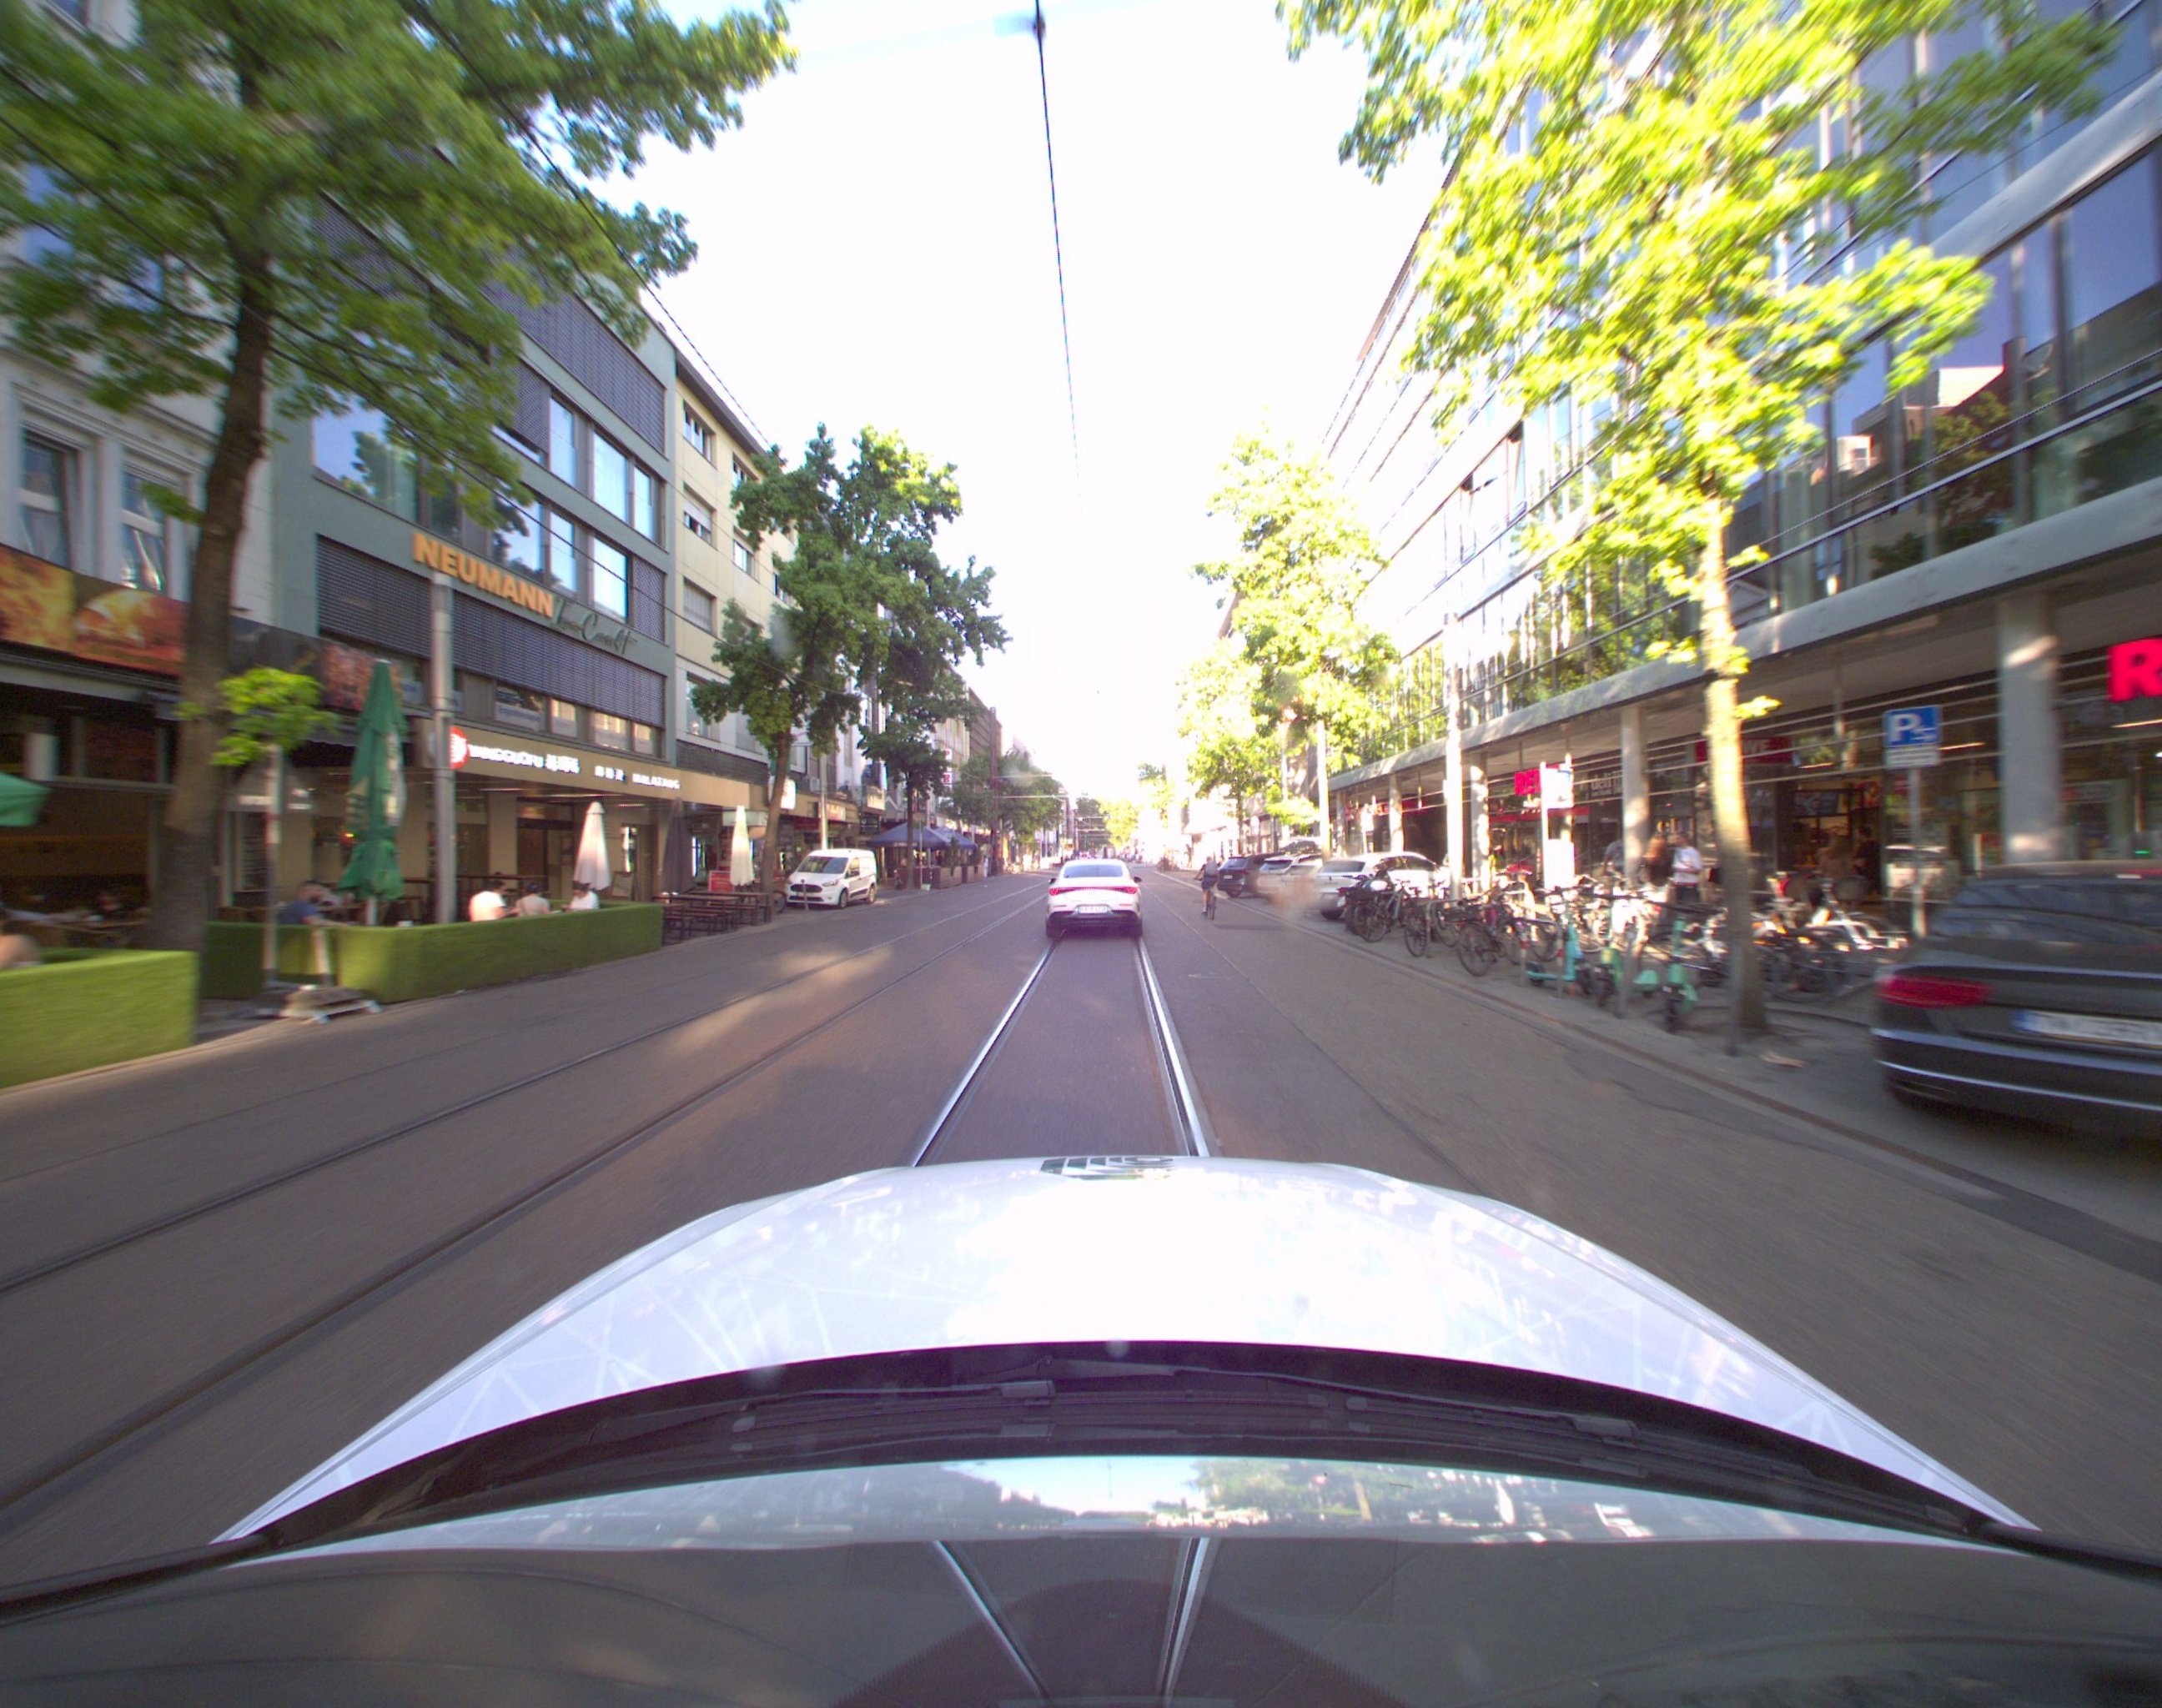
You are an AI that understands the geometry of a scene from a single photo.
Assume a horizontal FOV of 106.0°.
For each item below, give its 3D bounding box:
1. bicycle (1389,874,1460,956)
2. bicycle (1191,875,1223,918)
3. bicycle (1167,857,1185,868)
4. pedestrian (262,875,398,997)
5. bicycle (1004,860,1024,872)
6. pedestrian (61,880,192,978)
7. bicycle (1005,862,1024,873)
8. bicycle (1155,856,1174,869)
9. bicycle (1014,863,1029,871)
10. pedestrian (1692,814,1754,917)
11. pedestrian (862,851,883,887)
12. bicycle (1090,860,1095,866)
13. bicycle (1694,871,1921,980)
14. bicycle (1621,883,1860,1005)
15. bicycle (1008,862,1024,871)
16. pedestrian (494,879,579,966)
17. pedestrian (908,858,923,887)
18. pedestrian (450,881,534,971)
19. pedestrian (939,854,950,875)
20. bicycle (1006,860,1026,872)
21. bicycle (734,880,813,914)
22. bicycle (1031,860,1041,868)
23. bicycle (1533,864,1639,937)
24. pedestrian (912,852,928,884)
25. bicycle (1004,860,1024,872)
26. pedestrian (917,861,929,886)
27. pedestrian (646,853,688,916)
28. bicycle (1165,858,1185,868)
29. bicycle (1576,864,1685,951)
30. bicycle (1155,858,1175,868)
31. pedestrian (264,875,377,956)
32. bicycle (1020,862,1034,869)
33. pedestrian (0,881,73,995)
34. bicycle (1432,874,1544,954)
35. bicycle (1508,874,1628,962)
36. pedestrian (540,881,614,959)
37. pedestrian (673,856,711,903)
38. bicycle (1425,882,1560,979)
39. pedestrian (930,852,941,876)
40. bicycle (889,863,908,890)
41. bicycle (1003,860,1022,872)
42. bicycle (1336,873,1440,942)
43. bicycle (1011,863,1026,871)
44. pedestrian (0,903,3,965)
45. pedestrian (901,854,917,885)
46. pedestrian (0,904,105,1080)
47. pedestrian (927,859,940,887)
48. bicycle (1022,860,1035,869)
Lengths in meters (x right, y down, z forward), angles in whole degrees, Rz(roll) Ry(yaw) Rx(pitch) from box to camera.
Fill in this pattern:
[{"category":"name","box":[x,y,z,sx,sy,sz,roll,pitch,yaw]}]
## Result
[{"category":"bicycle","box":[5.656,0.973,13.364,0.475,1.163,1.705,-5,-1,41]},{"category":"bicycle","box":[3.258,1.057,20.885,0.714,0.995,2.065,1,0,11]},{"category":"bicycle","box":[10.441,0.935,89.570,1.908,1.156,0.608,-3,-1,-10]},{"category":"pedestrian","box":[-8.926,0.943,9.718,0.751,1.343,0.873,2,0,1]},{"category":"bicycle","box":[-6.037,1.074,73.655,1.784,1.077,0.377,0,0,-2]},{"category":"pedestrian","box":[-12.324,0.949,10.541,0.697,1.168,0.788,2,0,1]},{"category":"bicycle","box":[-5.713,1.204,70.319,1.586,0.930,0.378,0,0,8]},{"category":"bicycle","box":[9.271,0.937,90.412,1.908,1.281,0.608,-3,-1,-10]},{"category":"bicycle","box":[-6.025,1.308,82.514,1.486,0.783,0.345,0,0,3]},{"category":"pedestrian","box":[12.459,0.216,15.812,0.580,1.919,0.664,-3,-1,4]},{"category":"pedestrian","box":[-9.927,0.720,38.738,0.664,1.686,1.005,1,0,2]},{"category":"bicycle","box":[1.921,1.510,137.582,0.797,1.142,2.257,1,0,1]},{"category":"bicycle","box":[8.571,0.806,9.699,0.629,1.130,1.868,-3,0,-34]},{"category":"bicycle","box":[6.871,0.887,8.589,0.554,1.107,1.830,-3,0,-33]},{"category":"bicycle","box":[-6.484,1.272,81.180,1.486,0.841,0.345,0,0,3]},{"category":"pedestrian","box":[-8.370,1.034,12.552,0.654,1.244,0.873,2,0,1]},{"category":"pedestrian","box":[-8.065,0.888,39.687,0.547,1.429,0.583,0,0,1]},{"category":"pedestrian","box":[-9.074,1.084,12.572,0.654,1.293,0.798,2,0,1]},{"category":"pedestrian","box":[-9.993,0.778,59.663,0.595,1.533,0.672,1,0,3]},{"category":"bicycle","box":[-5.997,1.142,74.857,1.841,1.077,0.377,0,0,-2]},{"category":"bicycle","box":[-8.588,1.176,22.806,0.826,0.865,1.872,1,0,40]},{"category":"bicycle","box":[-6.227,1.425,113.736,0.713,1.010,2.048,-1,0,16]},{"category":"bicycle","box":[8.906,0.794,14.353,1.780,1.106,0.627,-4,-1,-24]},{"category":"pedestrian","box":[-8.618,0.734,43.685,0.715,1.724,0.675,0,0,1]},{"category":"bicycle","box":[-6.046,1.050,73.198,1.784,1.077,0.377,0,0,-2]},{"category":"pedestrian","box":[-7.943,0.974,40.997,0.493,1.228,0.535,0,0,1]},{"category":"pedestrian","box":[-10.635,0.764,20.924,0.645,1.574,0.700,2,0,2]},{"category":"bicycle","box":[10.712,0.979,92.690,2.114,1.096,0.607,-1,-1,-11]},{"category":"bicycle","box":[8.394,0.778,12.438,1.273,1.173,0.860,-4,1,-29]},{"category":"bicycle","box":[9.631,1.053,93.388,2.113,1.096,0.608,0,-1,-10]},{"category":"pedestrian","box":[-12.210,0.966,13.109,0.750,1.188,1.065,2,0,1]},{"category":"bicycle","box":[-6.050,1.319,90.750,1.486,0.783,0.345,0,0,3]},{"category":"pedestrian","box":[-12.343,0.942,9.249,0.734,1.214,0.788,2,0,1]},{"category":"bicycle","box":[6.528,0.939,13.057,1.697,1.106,0.627,-4,-1,-25]},{"category":"bicycle","box":[7.148,0.902,11.944,1.679,1.074,0.726,-4,1,-28]},{"category":"pedestrian","box":[-8.293,1.072,13.437,0.654,1.193,0.798,2,0,1]},{"category":"pedestrian","box":[-12.410,0.795,25.999,0.767,1.467,0.765,2,0,0]},{"category":"bicycle","box":[5.615,1.005,11.115,1.567,1.088,0.861,-4,1,-28]},{"category":"pedestrian","box":[-10.669,0.703,59.694,0.595,1.745,0.672,1,0,3]},{"category":"bicycle","box":[-8.429,1.020,37.539,0.699,1.121,2.076,2,0,-15]},{"category":"bicycle","box":[-6.515,1.144,77.449,1.838,1.141,0.377,0,0,3]},{"category":"bicycle","box":[5.784,0.986,15.311,1.901,1.119,0.661,-3,-1,-27]},{"category":"bicycle","box":[-6.287,1.304,81.828,1.486,0.783,0.345,0,0,3]},{"category":"pedestrian","box":[-9.052,1.009,6.230,0.616,1.245,0.697,2,0,1]},{"category":"pedestrian","box":[-8.840,0.801,41.874,0.671,1.607,0.720,0,0,1]},{"category":"pedestrian","box":[-8.294,1.040,6.284,0.616,1.245,0.697,2,0,1]},{"category":"pedestrian","box":[-7.173,0.938,39.612,0.547,1.356,0.583,0,0,1]},{"category":"bicycle","box":[-5.943,1.186,92.516,1.492,1.029,0.343,0,0,-8]}]
